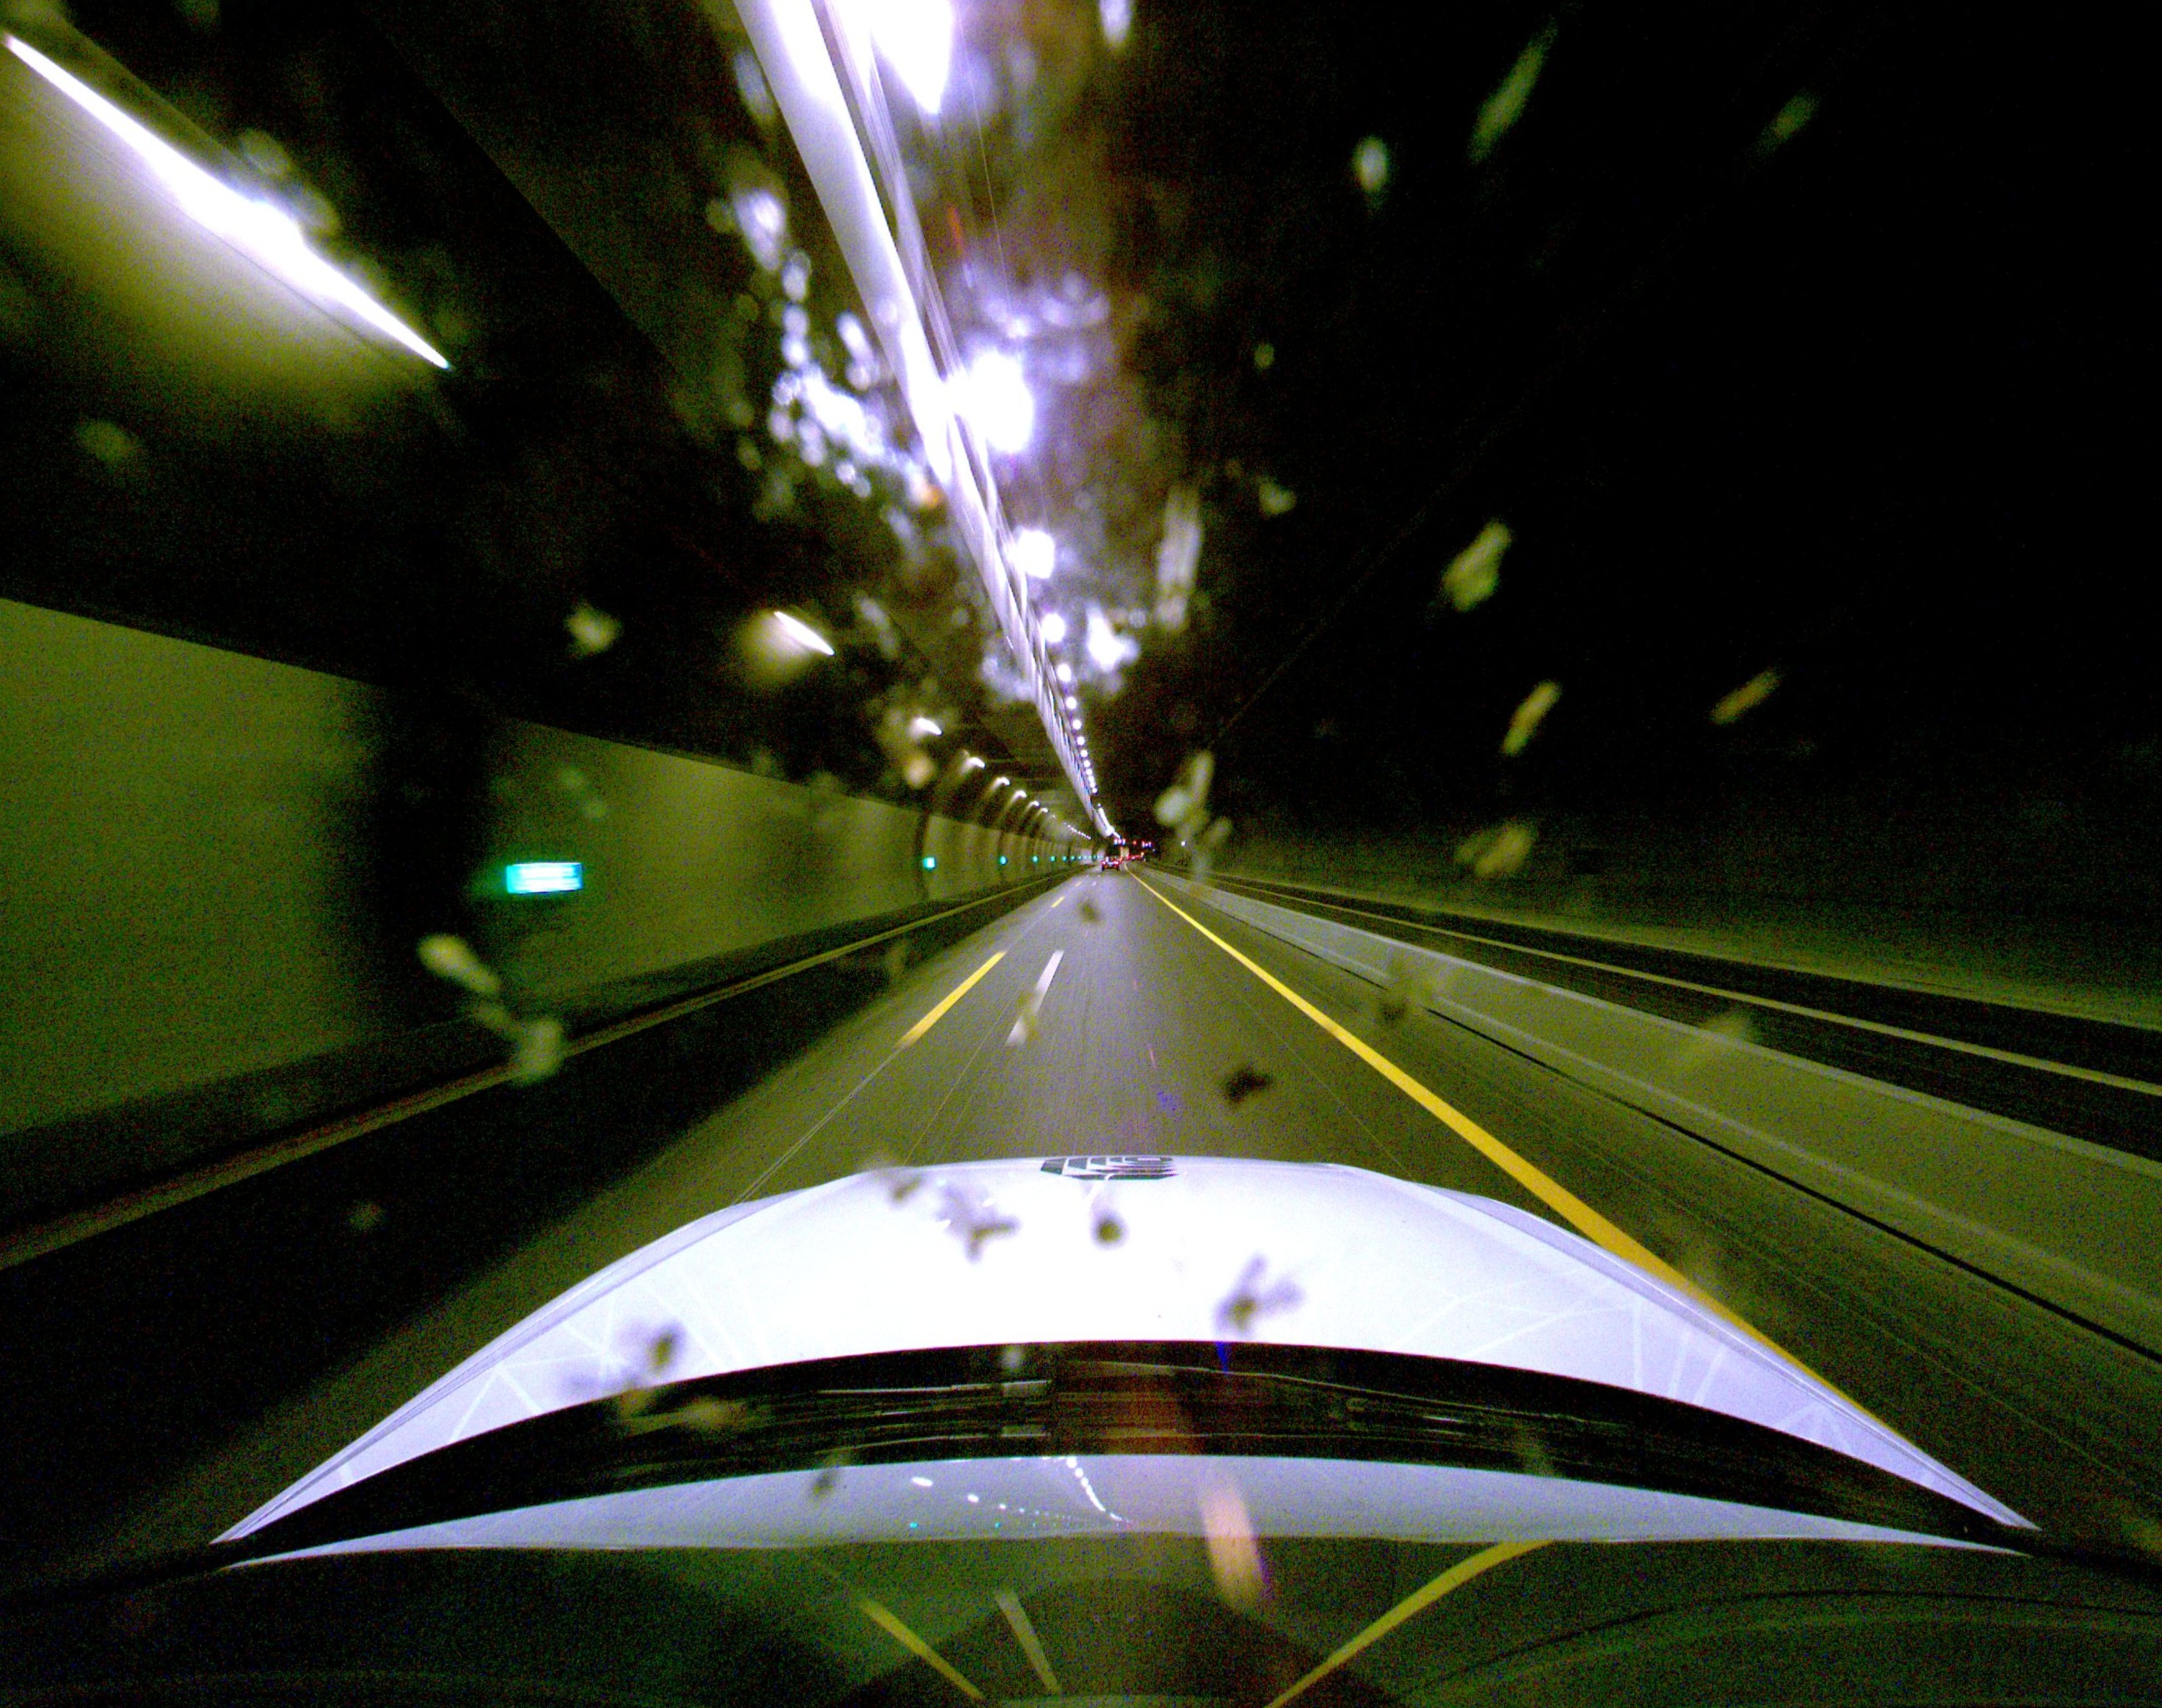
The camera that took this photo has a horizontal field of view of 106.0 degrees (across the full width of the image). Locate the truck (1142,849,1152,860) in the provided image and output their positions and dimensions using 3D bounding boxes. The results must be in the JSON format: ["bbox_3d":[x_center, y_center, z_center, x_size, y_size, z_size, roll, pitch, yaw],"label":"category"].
[{"bbox_3d":[20.543,0.153,253.127,2.879,3.272,8.410,-1,-1,4],"label":"truck"}]

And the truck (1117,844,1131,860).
[{"bbox_3d":[13.833,-0.730,260.805,4.526,4.987,9.608,-1,-1,4],"label":"truck"}]

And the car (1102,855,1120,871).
[{"bbox_3d":[3.164,0.932,87.149,1.881,1.607,4.001,-1,-1,1],"label":"car"}]

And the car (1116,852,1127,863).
[{"bbox_3d":[7.845,0.726,156.580,1.986,2.013,4.002,-1,0,2],"label":"car"}]
